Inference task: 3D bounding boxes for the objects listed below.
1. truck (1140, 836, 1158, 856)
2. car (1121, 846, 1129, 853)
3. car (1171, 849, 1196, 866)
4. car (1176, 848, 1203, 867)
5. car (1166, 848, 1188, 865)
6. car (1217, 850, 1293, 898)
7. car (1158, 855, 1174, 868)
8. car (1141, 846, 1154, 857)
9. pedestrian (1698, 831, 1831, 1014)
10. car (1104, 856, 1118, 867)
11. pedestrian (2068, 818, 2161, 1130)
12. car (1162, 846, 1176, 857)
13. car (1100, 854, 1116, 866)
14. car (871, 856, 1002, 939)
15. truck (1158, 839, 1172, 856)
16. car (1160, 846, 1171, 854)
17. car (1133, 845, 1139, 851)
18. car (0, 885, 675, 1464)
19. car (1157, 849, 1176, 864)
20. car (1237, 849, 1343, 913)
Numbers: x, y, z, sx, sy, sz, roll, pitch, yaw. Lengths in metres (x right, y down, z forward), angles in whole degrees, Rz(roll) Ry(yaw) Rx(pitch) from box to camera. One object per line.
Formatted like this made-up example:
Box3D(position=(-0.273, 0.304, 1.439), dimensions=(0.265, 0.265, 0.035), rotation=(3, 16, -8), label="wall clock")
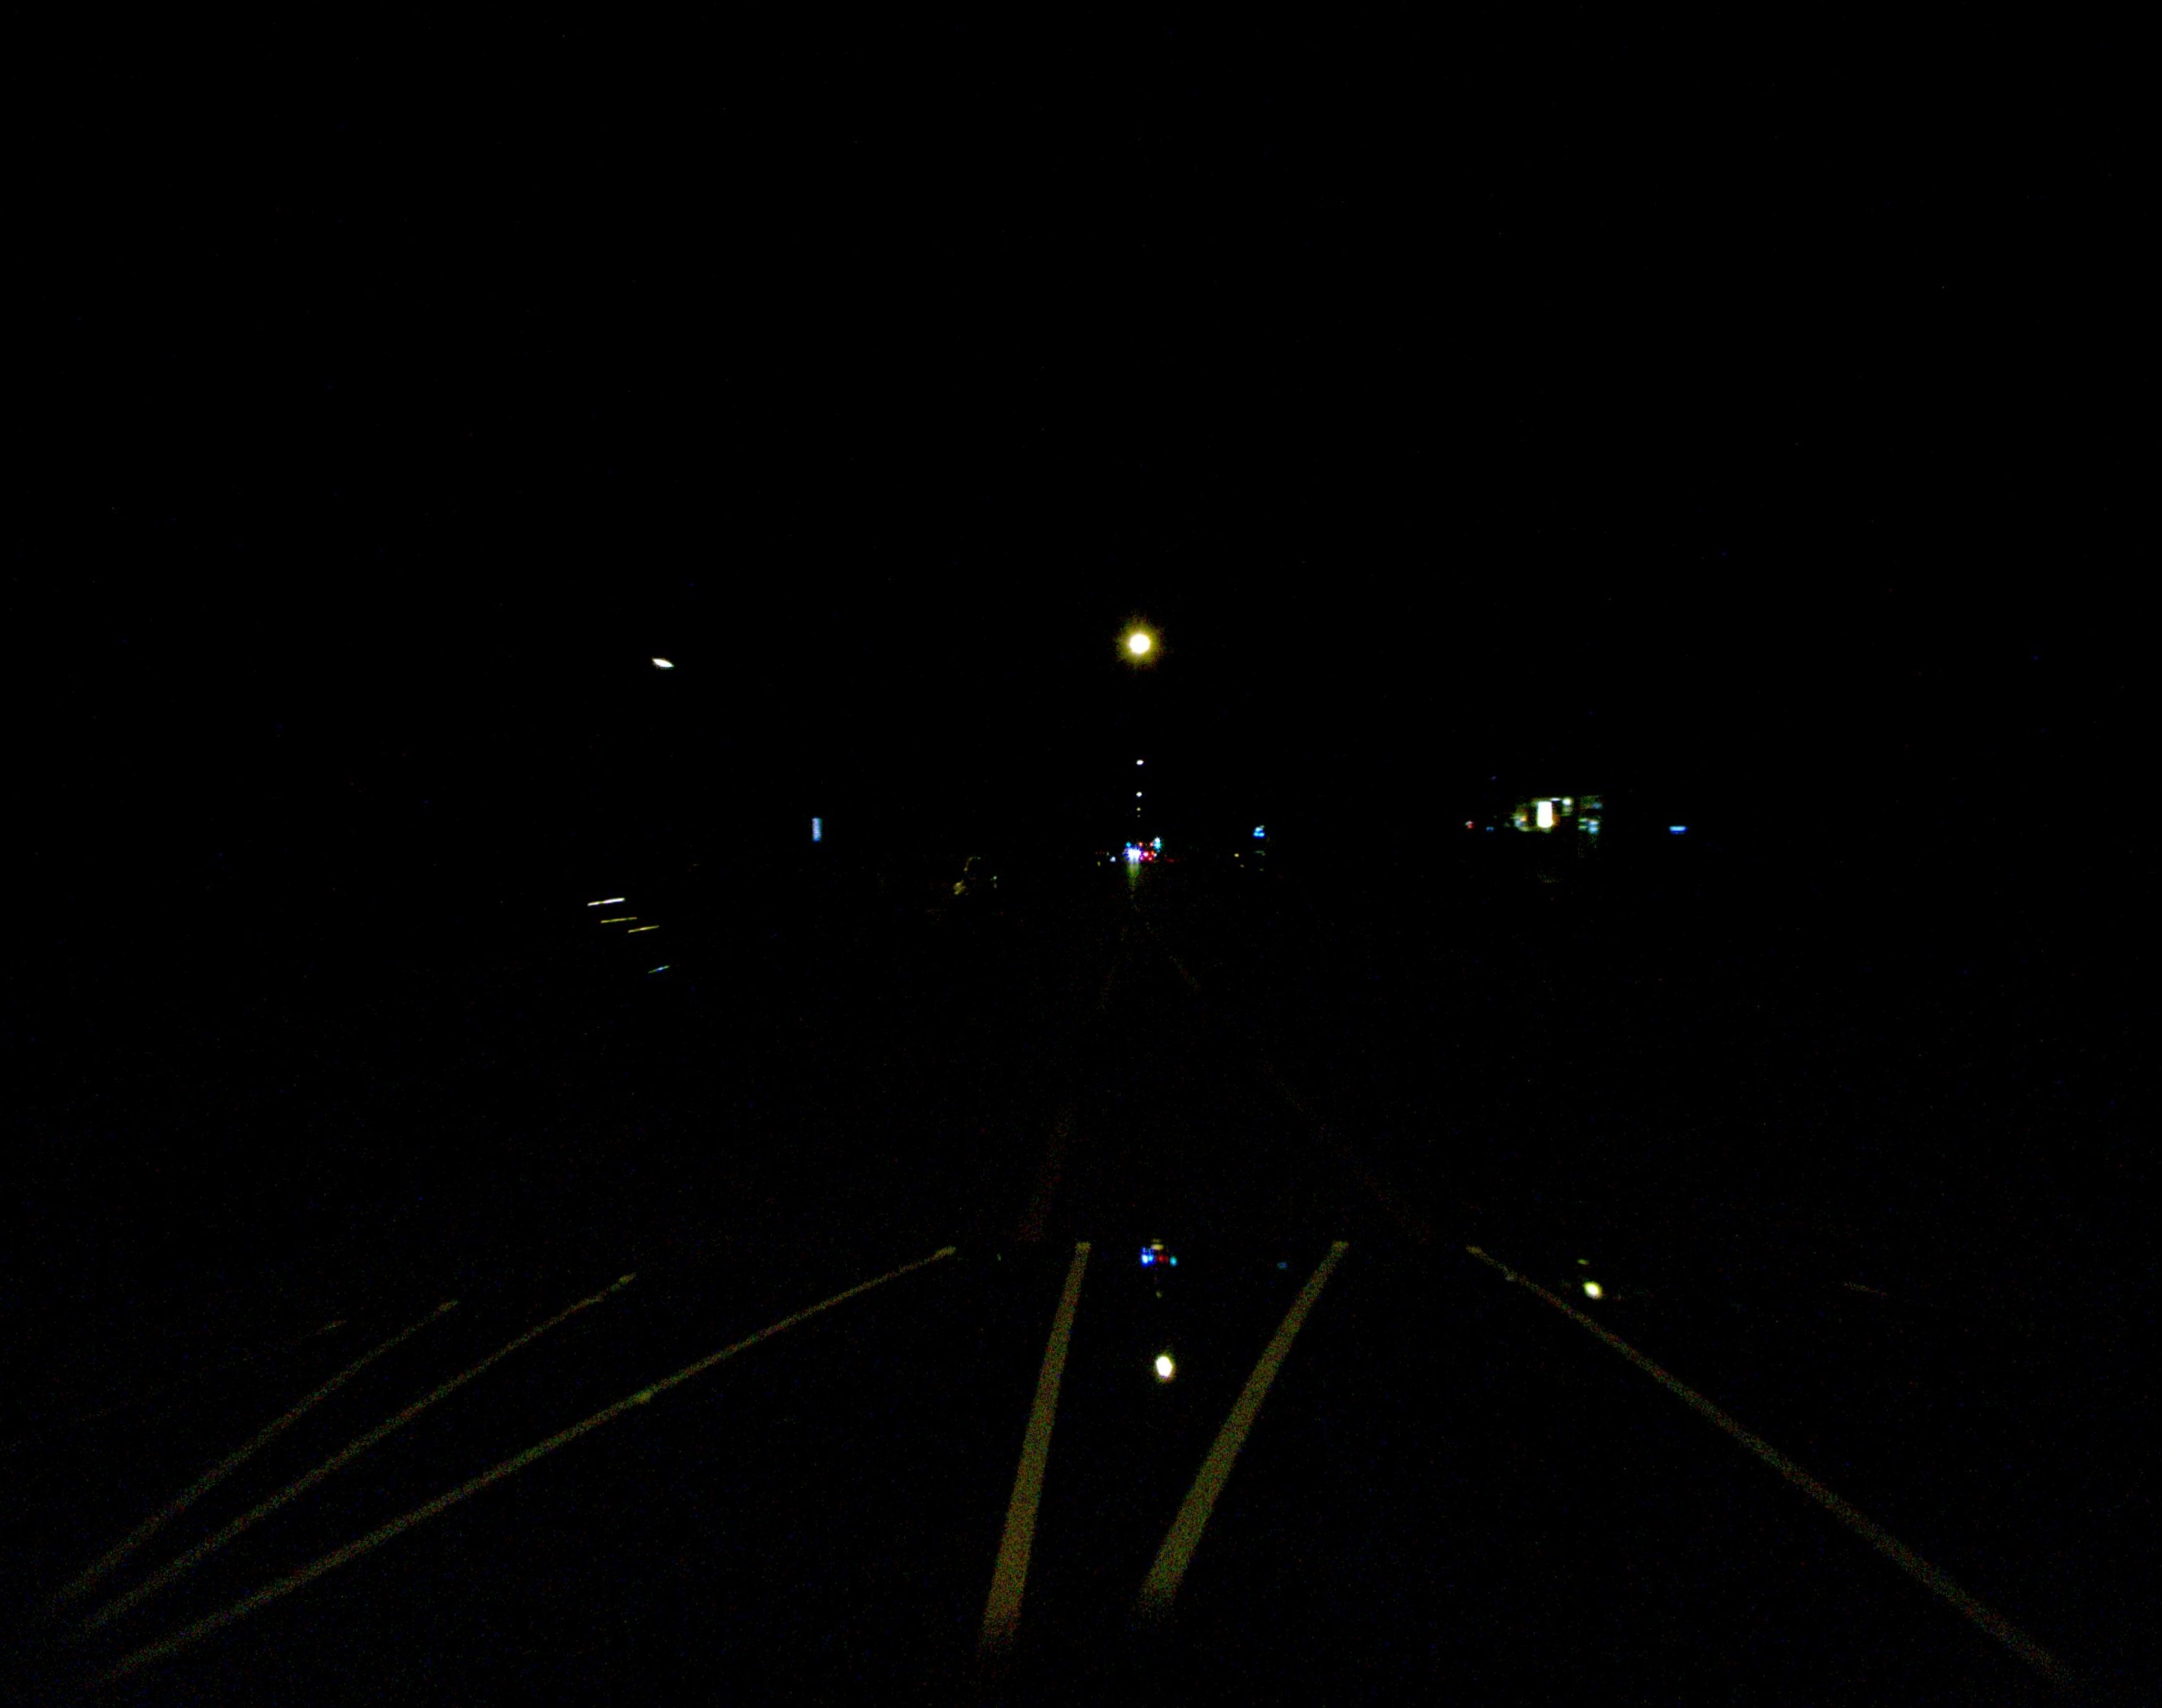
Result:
Box3D(position=(12.518, -1.457, 139.738), dimensions=(3.221, 3.359, 8.853), rotation=(-1, 0, 5), label="truck")
Box3D(position=(10.892, -1.129, 188.686), dimensions=(1.792, 1.829, 3.846), rotation=(-1, 0, 3), label="car")
Box3D(position=(9.948, 0.332, 73.893), dimensions=(1.873, 1.635, 4.000), rotation=(-1, 0, 1), label="car")
Box3D(position=(9.876, 0.297, 69.327), dimensions=(1.873, 1.635, 4.000), rotation=(-1, 0, 1), label="car")
Box3D(position=(10.052, 0.267, 80.012), dimensions=(1.873, 1.635, 4.000), rotation=(-1, 0, 1), label="car")
Box3D(position=(5.999, 0.645, 26.616), dimensions=(1.864, 1.458, 3.898), rotation=(-3, 0, 3), label="car")
Box3D(position=(11.249, 0.959, 100.747), dimensions=(1.873, 1.551, 4.001), rotation=(-1, 0, 5), label="car")
Box3D(position=(10.333, -0.398, 117.997), dimensions=(1.873, 1.635, 4.001), rotation=(-1, 0, 5), label="car")
Box3D(position=(6.795, 0.647, 7.603), dimensions=(0.669, 1.716, 0.868), rotation=(-1, 0, 17), label="pedestrian")
Box3D(position=(4.155, 0.961, 104.341), dimensions=(1.873, 1.407, 4.001), rotation=(-1, 0, 3), label="car")
Box3D(position=(6.099, 0.631, 3.860), dimensions=(0.744, 1.662, 1.103), rotation=(-1, 1, 3), label="pedestrian")
Box3D(position=(13.116, -0.305, 113.098), dimensions=(1.873, 1.551, 4.354), rotation=(-1, 0, 5), label="car")
Box3D(position=(3.451, 0.763, 96.719), dimensions=(1.873, 1.407, 4.001), rotation=(-1, 0, 3), label="car")
Box3D(position=(-3.081, 0.866, 17.154), dimensions=(1.741, 1.588, 4.360), rotation=(1, 0, 5), label="car")
Box3D(position=(13.718, -1.044, 124.135), dimensions=(2.084, 2.562, 6.876), rotation=(-1, 0, 5), label="truck")
Box3D(position=(16.305, -0.768, 147.009), dimensions=(1.873, 1.551, 4.354), rotation=(-1, 0, 5), label="car")
Box3D(position=(16.067, -1.815, 222.106), dimensions=(1.774, 1.672, 3.815), rotation=(-1, 0, 4), label="car")
Box3D(position=(-4.089, 1.032, 3.754), dimensions=(1.864, 1.544, 4.046), rotation=(1, 0, 2), label="car")
Box3D(position=(9.905, 0.283, 88.297), dimensions=(1.873, 1.635, 4.000), rotation=(-1, 0, 1), label="car")
Box3D(position=(5.745, 0.688, 21.465), dimensions=(1.864, 1.523, 4.589), rotation=(-3, 0, 3), label="car")
